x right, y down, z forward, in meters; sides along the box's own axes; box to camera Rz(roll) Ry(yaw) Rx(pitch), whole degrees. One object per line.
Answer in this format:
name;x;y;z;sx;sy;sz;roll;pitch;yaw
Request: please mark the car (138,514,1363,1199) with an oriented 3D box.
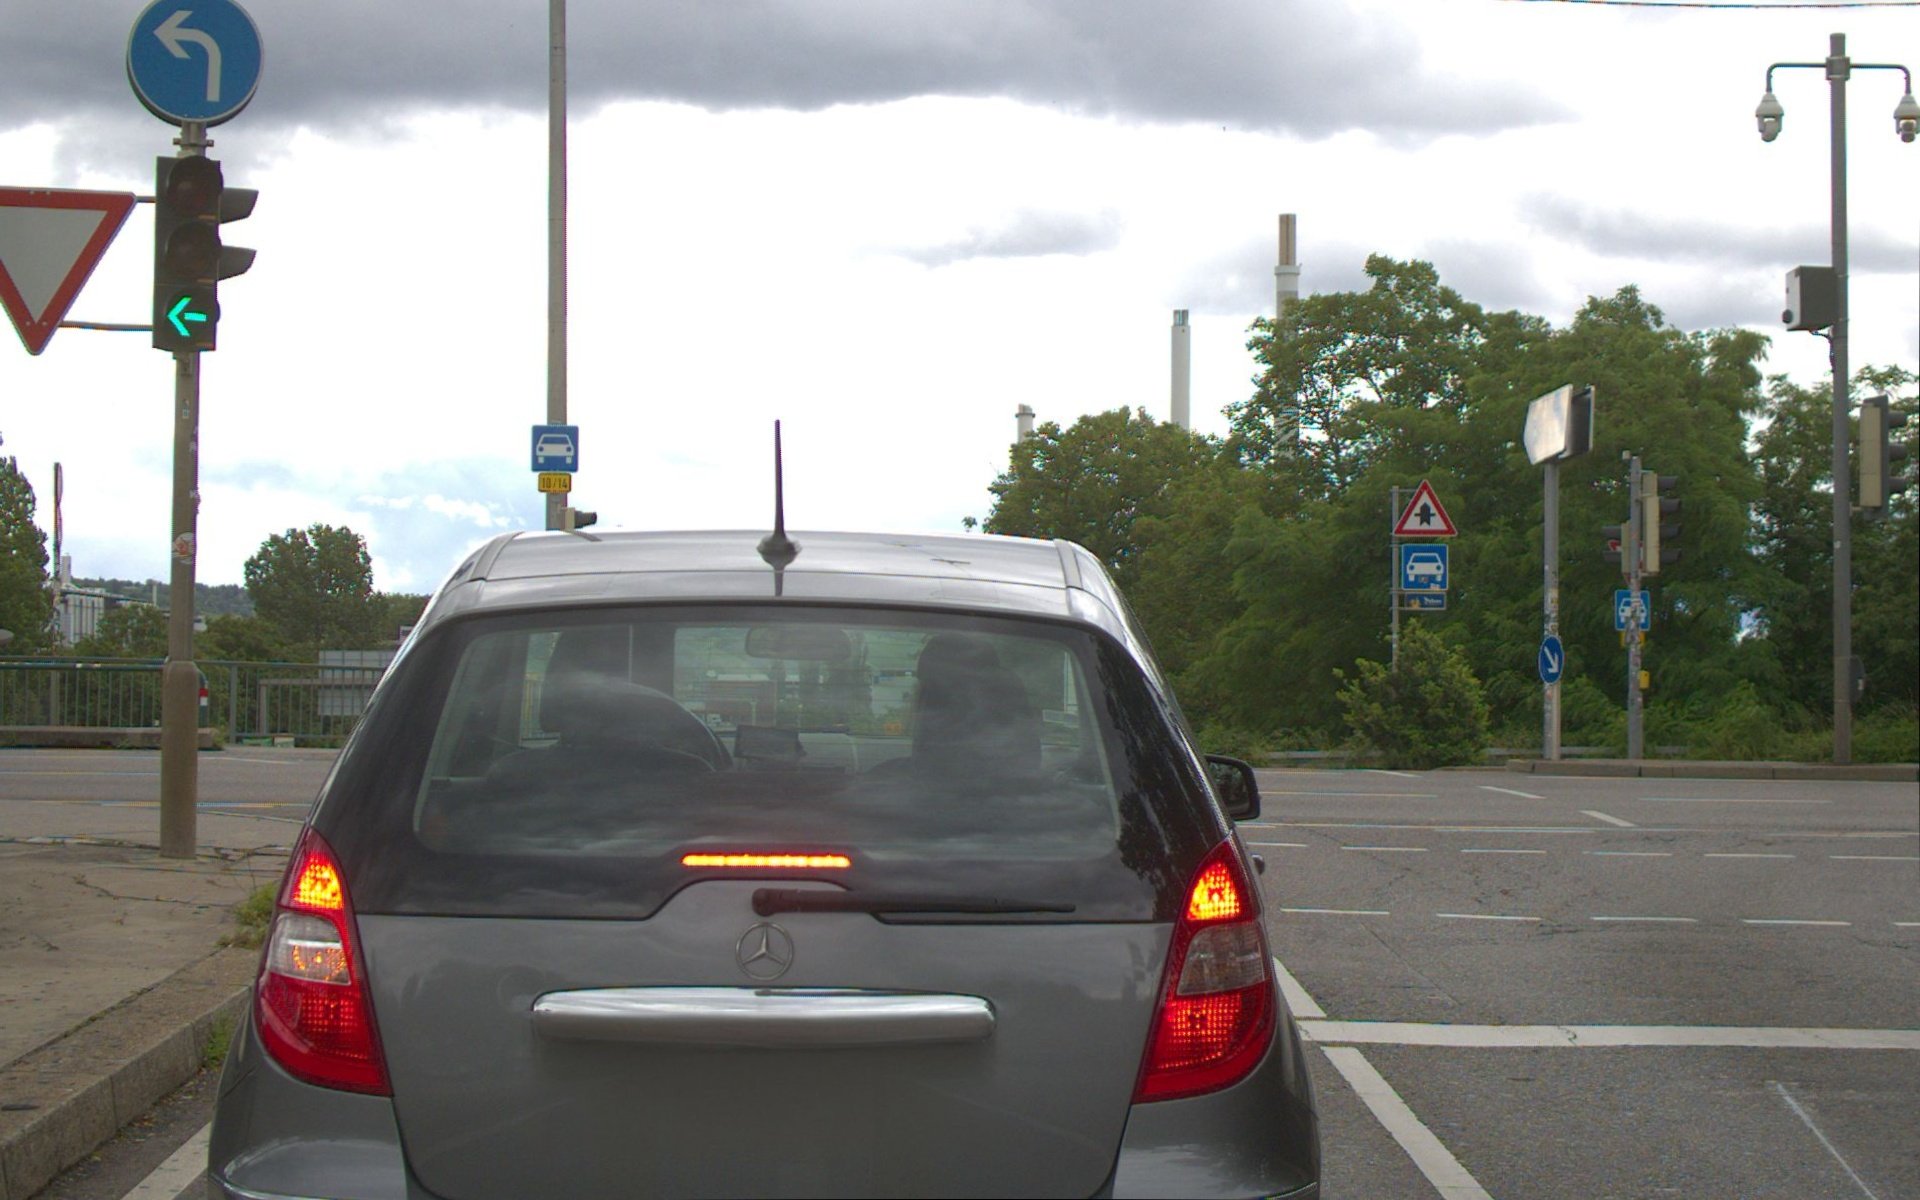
car;-0.317;0.643;6.690;1.739;1.538;3.541;1;0;0
